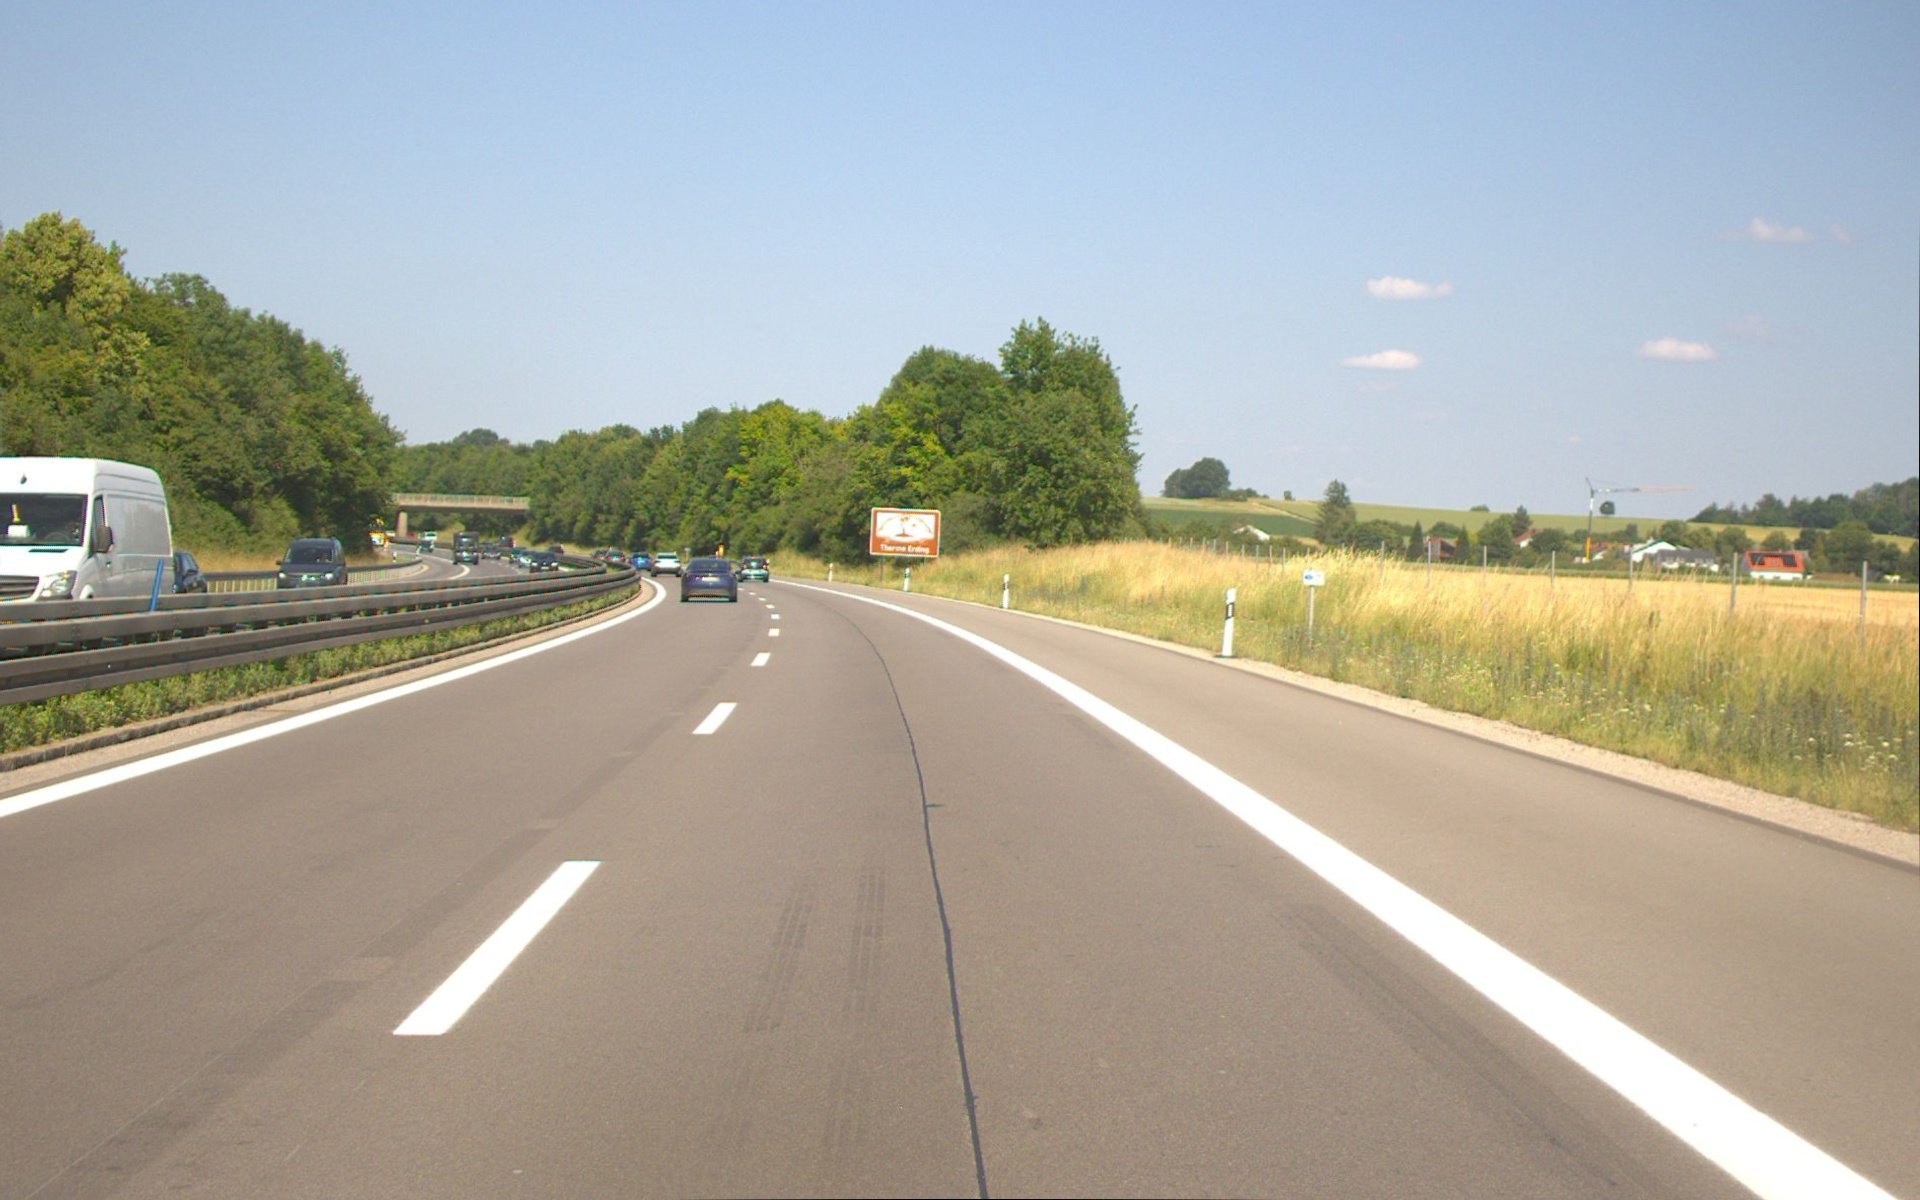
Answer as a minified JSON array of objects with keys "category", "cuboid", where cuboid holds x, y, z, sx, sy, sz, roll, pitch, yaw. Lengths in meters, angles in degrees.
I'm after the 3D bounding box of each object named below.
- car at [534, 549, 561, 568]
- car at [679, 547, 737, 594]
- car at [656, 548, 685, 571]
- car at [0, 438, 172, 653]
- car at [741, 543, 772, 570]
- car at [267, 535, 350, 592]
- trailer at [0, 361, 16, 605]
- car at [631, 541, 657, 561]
[{"category":"car","cuboid":[-27.077,-2.720,225.879,1.387,1.158,3.252,1,1,-1]},{"category":"car","cuboid":[-8.377,-1.005,114.796,1.847,1.428,5.867,1,1,-4]},{"category":"car","cuboid":[-18.661,-2.626,221.758,1.676,1.448,3.592,1,1,-3]},{"category":"car","cuboid":[-11.813,-0.726,44.592,2.088,2.585,5.815,1,1,-3]},{"category":"car","cuboid":[-11.375,-2.437,192.391,1.676,1.448,3.592,1,1,-3]},{"category":"car","cuboid":[-19.464,-1.113,102.830,1.757,1.621,4.000,1,1,-1]},{"category":"trailer","cuboid":[-16.246,-1.772,48.931,2.745,3.816,11.923,1,1,-2]},{"category":"car","cuboid":[-24.034,-3.738,261.294,1.676,1.448,3.592,1,1,-1]}]
